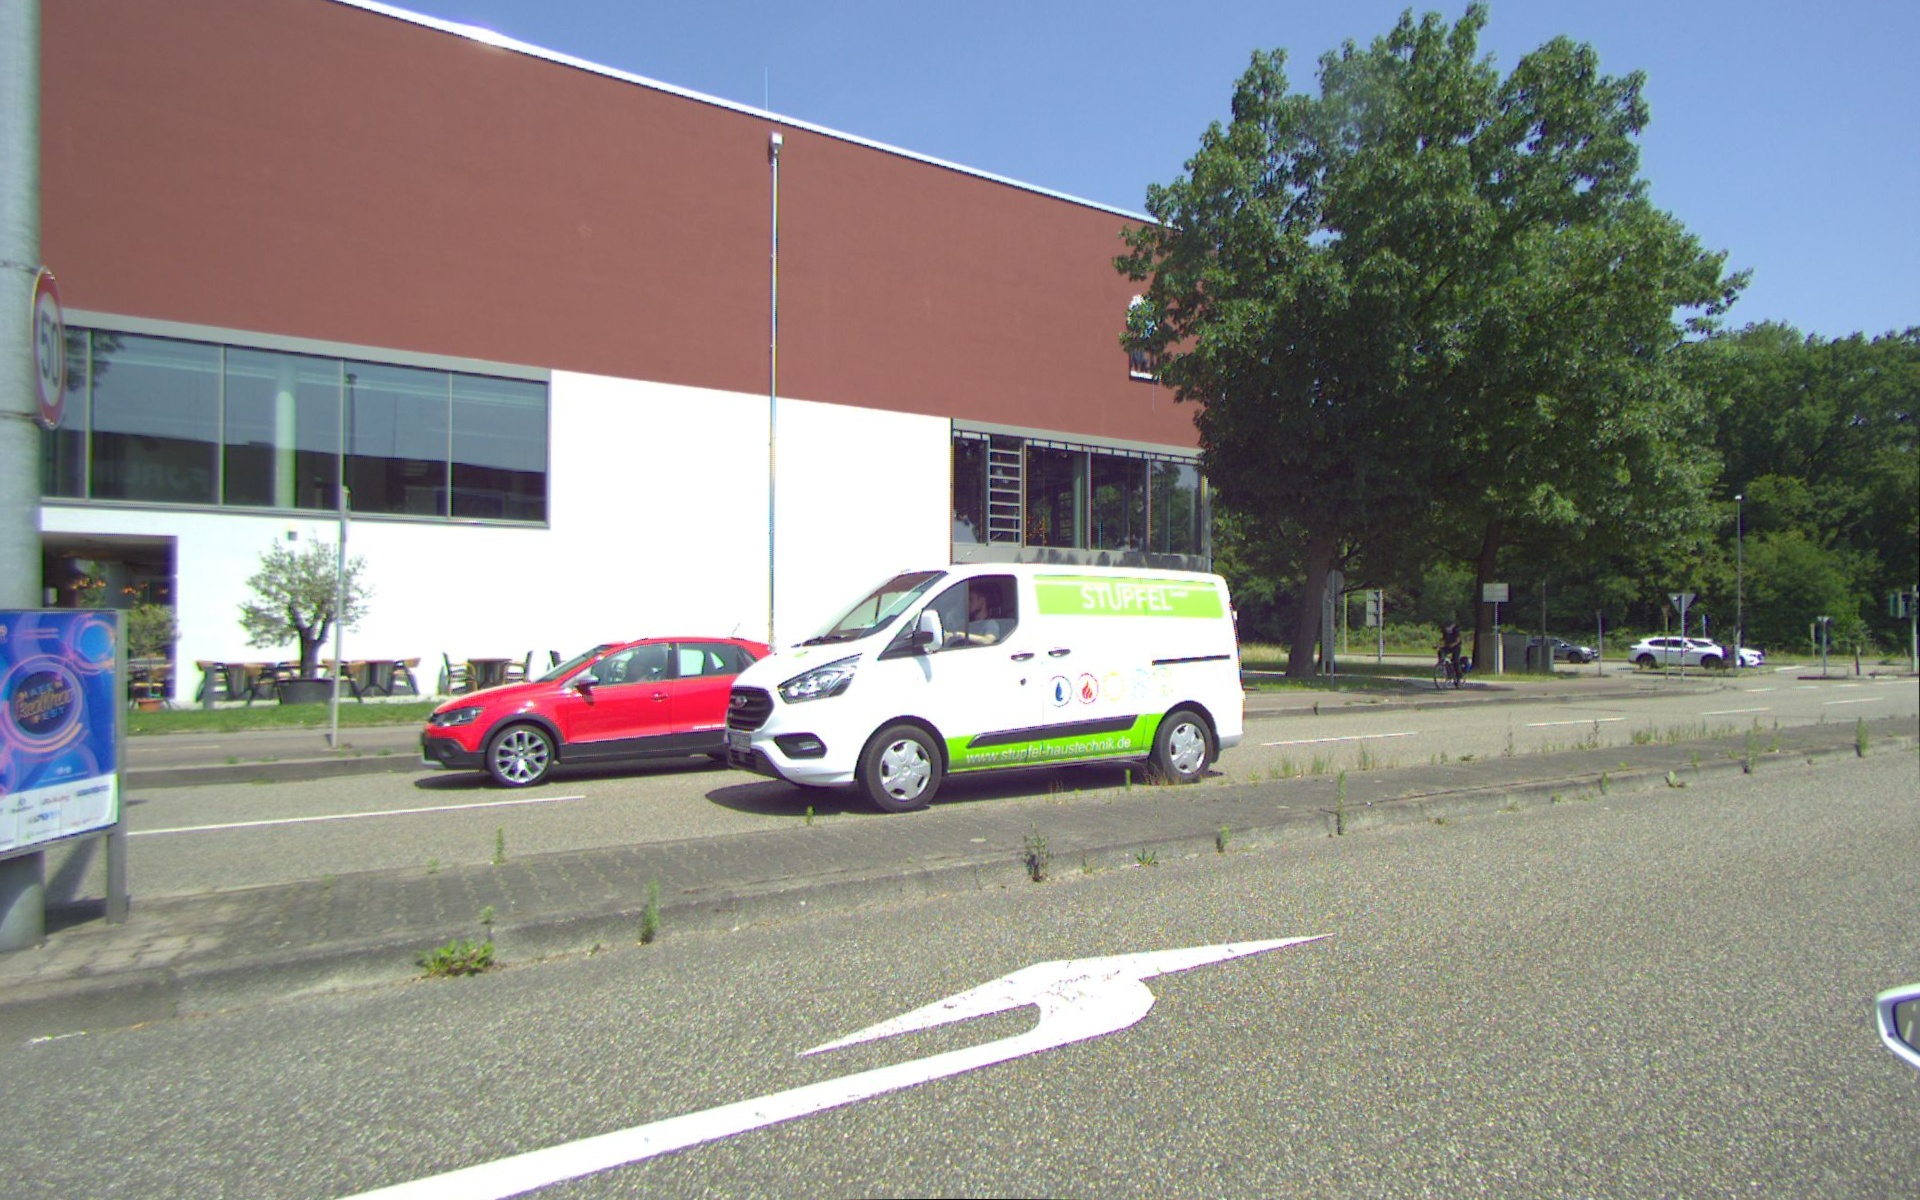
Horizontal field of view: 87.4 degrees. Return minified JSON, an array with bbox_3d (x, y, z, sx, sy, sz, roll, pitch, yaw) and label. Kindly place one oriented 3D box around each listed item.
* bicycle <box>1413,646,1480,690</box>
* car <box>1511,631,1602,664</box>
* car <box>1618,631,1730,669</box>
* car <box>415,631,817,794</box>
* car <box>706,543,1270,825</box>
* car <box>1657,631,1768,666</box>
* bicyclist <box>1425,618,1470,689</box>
[{"bbox_3d":[12.655,1.752,26.108,1.862,1.065,0.652,1,-1,-30],"label":"bicycle"},{"bbox_3d":[35.482,2.828,59.819,1.796,1.704,4.333,2,0,-40],"label":"car"},{"bbox_3d":[36.609,2.526,51.605,1.794,1.704,4.338,2,0,-37],"label":"car"},{"bbox_3d":[-3.657,1.098,10.820,3.845,1.471,1.698,1,-4,-30],"label":"car"},{"bbox_3d":[0.360,0.675,9.162,4.852,1.971,1.984,1,-3,-31],"label":"car"},{"bbox_3d":[40.059,2.617,53.552,1.794,1.703,4.341,2,-5,-37],"label":"car"},{"bbox_3d":[12.686,1.377,26.128,0.917,1.793,0.646,1,-1,-30],"label":"bicyclist"}]
